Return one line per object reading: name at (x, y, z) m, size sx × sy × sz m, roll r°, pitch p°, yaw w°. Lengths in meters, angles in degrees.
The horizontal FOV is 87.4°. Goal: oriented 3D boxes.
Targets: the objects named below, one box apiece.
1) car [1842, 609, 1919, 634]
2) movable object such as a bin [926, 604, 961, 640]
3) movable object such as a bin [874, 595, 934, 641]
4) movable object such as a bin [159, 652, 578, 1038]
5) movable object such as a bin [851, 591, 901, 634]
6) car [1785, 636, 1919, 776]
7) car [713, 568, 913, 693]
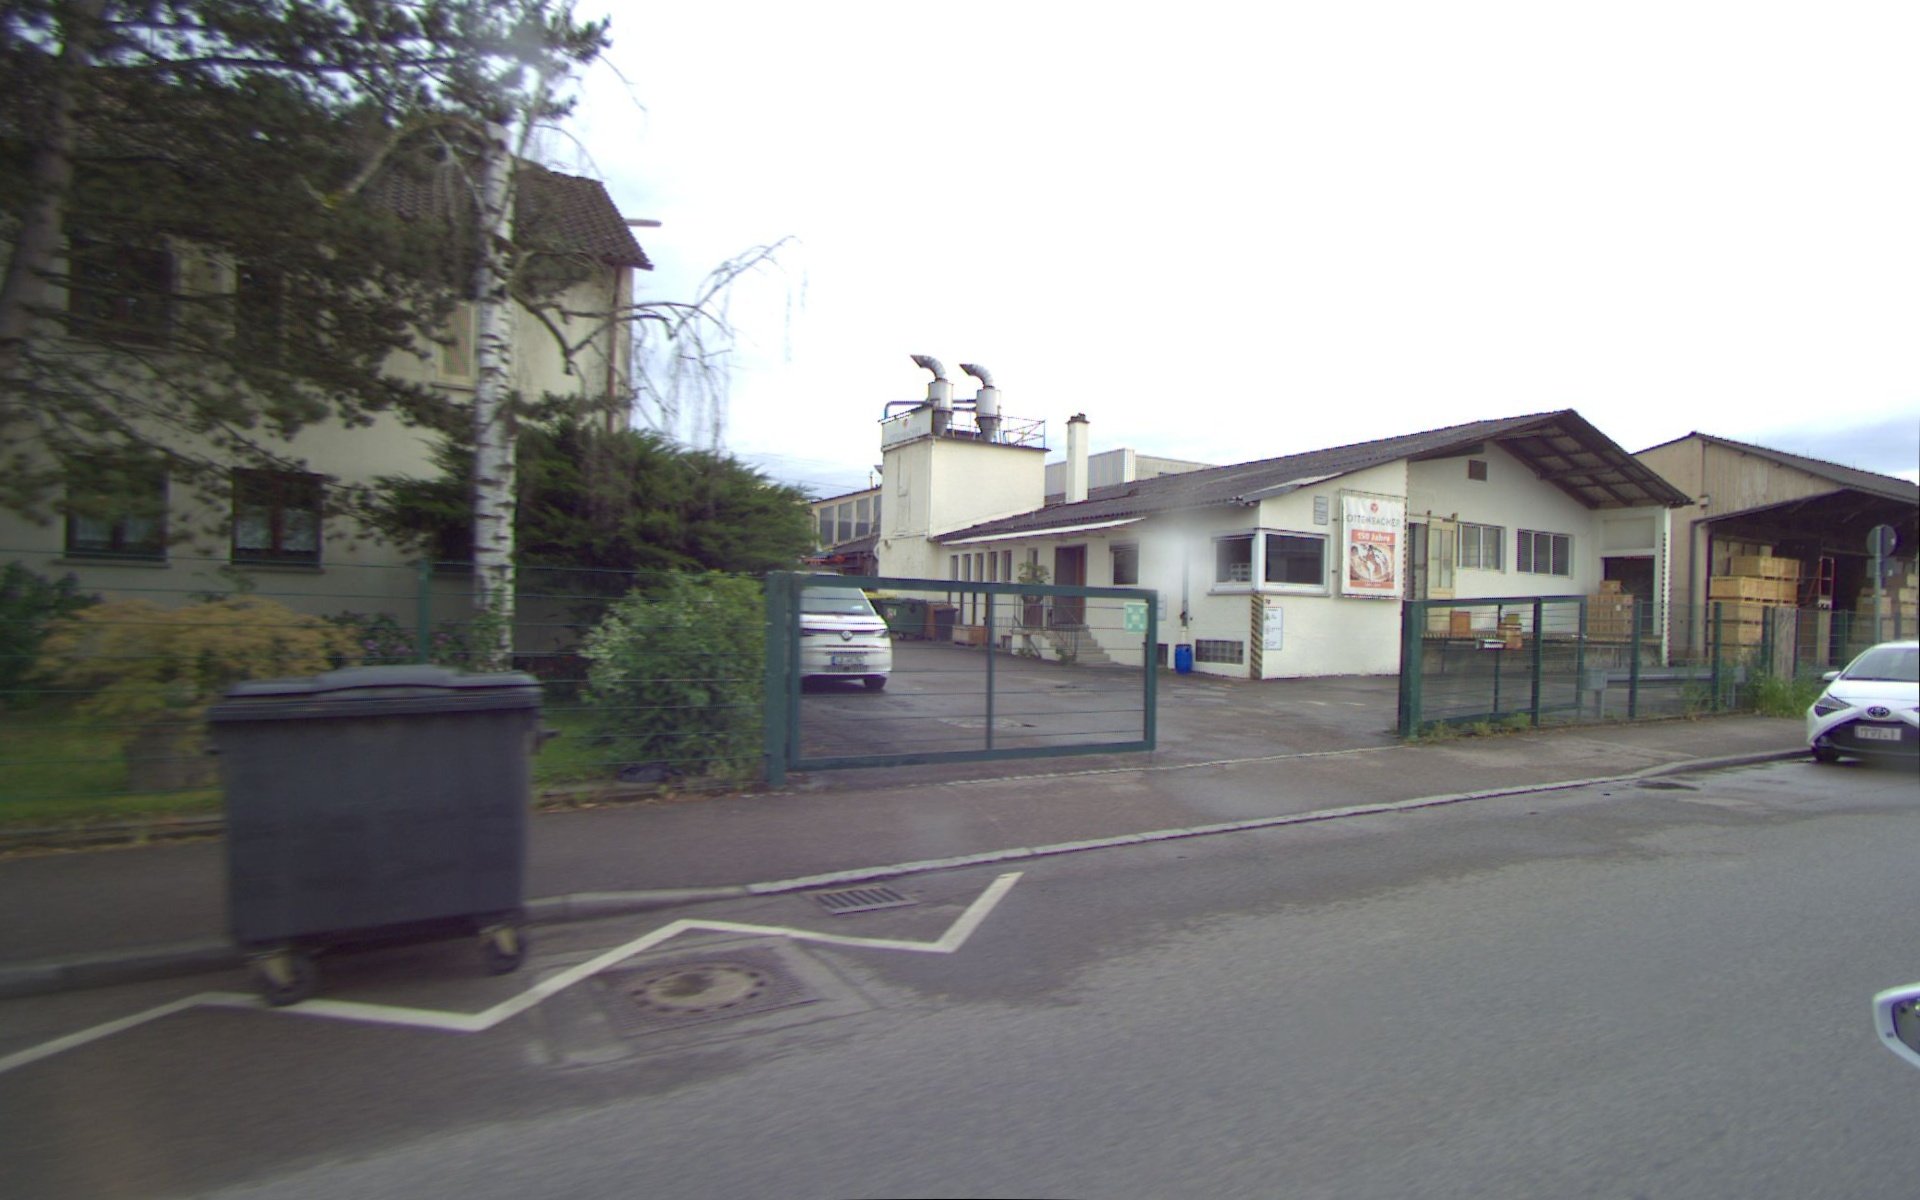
car at (67.035, 1.583, 73.156) m, size 1.755 × 1.628 × 3.958 m, roll 2°, pitch 1°, yaw -37°
movable object such as a bin at (-0.526, 0.687, 31.733) m, size 0.717 × 1.107 × 0.867 m, roll 2°, pitch 1°, yaw -32°
movable object such as a bin at (-1.793, 0.562, 32.314) m, size 1.470 × 1.405 × 1.273 m, roll 2°, pitch 1°, yaw -32°
movable object such as a bin at (-2.546, 0.933, 4.471) m, size 1.408 × 1.328 × 1.095 m, roll 2°, pitch 1°, yaw -30°
movable object such as a bin at (-2.895, 0.411, 34.555) m, size 1.228 × 1.405 × 1.318 m, roll 2°, pitch 1°, yaw -32°
car at (11.884, 1.222, 12.281) m, size 3.617 × 1.529 × 1.609 m, roll 2°, pitch -2°, yaw -30°
car at (-2.780, 0.428, 17.813) m, size 1.975 × 1.881 × 4.979 m, roll 2°, pitch 1°, yaw -27°
